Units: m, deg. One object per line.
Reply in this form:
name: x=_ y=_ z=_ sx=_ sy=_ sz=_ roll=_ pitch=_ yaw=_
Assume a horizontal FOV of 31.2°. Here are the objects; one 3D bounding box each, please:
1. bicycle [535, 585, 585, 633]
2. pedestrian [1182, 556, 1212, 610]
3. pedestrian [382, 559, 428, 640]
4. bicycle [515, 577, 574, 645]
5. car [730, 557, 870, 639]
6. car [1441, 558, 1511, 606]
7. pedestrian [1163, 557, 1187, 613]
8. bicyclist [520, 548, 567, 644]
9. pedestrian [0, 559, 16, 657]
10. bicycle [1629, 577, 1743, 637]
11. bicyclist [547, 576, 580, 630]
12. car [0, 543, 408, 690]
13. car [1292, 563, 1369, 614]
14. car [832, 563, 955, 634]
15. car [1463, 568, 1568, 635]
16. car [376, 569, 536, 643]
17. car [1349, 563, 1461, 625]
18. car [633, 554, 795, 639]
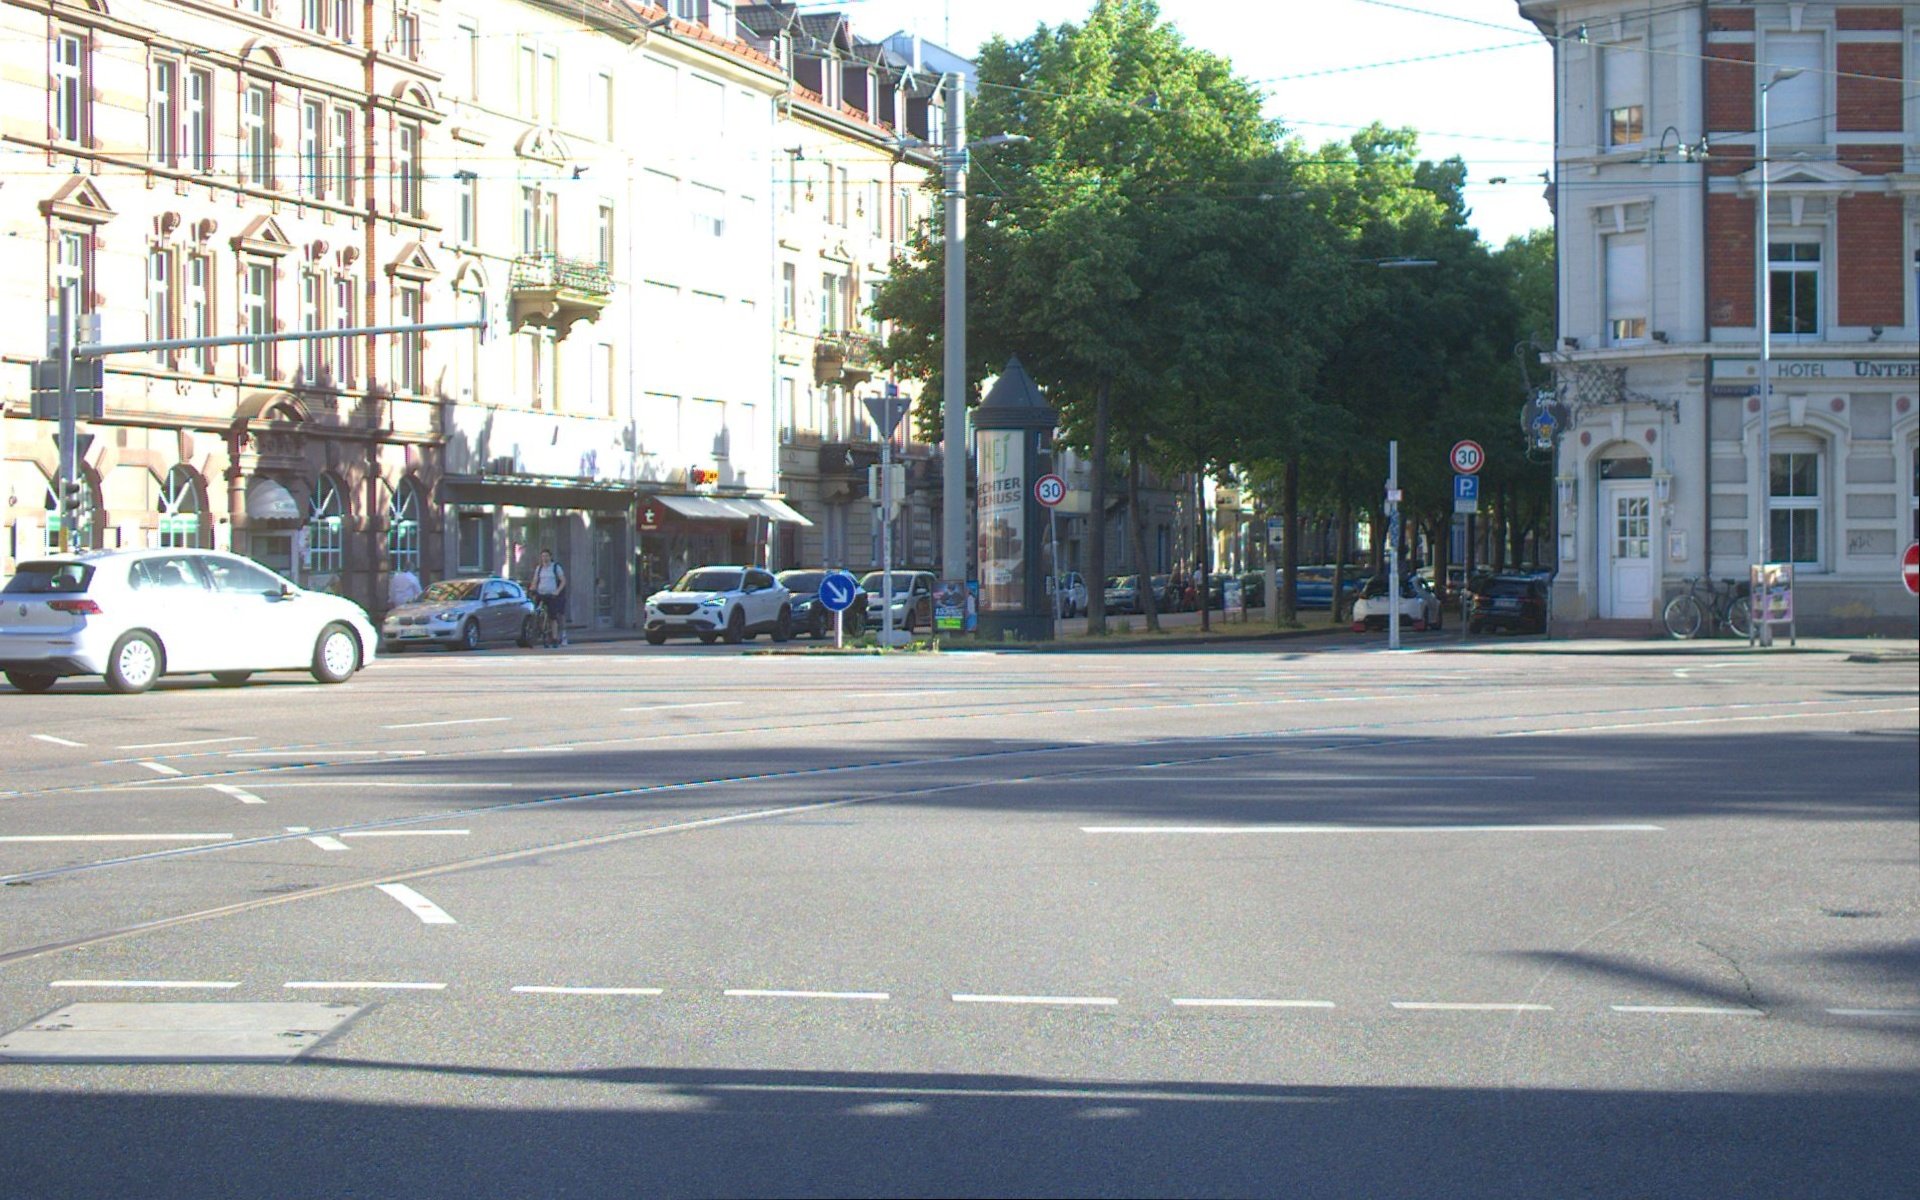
bicycle: x=-7.827 y=0.180 z=67.321 sx=0.473 sy=0.919 sz=1.451 roll=1 pitch=1 yaw=14
pedestrian: x=8.000 y=-0.578 z=116.097 sx=0.709 sy=1.784 sz=0.697 roll=1 pitch=0 yaw=-36
pedestrian: x=-11.326 y=-0.018 z=70.149 sx=0.568 sy=1.636 sz=0.792 roll=1 pitch=0 yaw=23
bicycle: x=-7.860 y=0.201 z=65.069 sx=0.565 sy=1.250 sz=1.556 roll=1 pitch=0 yaw=14
car: x=-3.387 y=-0.048 z=73.599 sx=1.826 sy=1.679 sz=3.872 roll=1 pitch=1 yaw=16
car: x=15.514 y=-0.555 z=103.331 sx=1.826 sy=1.398 sz=3.998 roll=0 pitch=1 yaw=12
pedestrian: x=7.733 y=-0.536 z=123.461 sx=0.752 sy=2.007 sz=0.999 roll=1 pitch=0 yaw=8
bicyclist: x=-7.872 y=-0.072 z=65.040 sx=0.565 sy=1.797 sz=0.913 roll=1 pitch=0 yaw=14
pedestrian: x=-15.900 y=0.120 z=56.272 sx=0.668 sy=1.589 sz=0.815 roll=1 pitch=0 yaw=-1
bicycle: x=12.063 y=0.115 z=57.124 sx=1.804 sy=0.959 sz=0.603 roll=1 pitch=0 yaw=14
bicyclist: x=-7.782 y=0.053 z=67.500 sx=0.473 sy=1.036 sz=0.537 roll=1 pitch=0 yaw=15
car: x=-7.808 y=0.124 z=34.987 sx=1.733 sy=1.385 sz=4.218 roll=1 pitch=1 yaw=40
car: x=12.583 y=-0.390 z=116.531 sx=1.995 sy=1.678 sz=3.997 roll=1 pitch=1 yaw=15
car: x=-1.519 y=-0.043 z=79.512 sx=1.804 sy=1.570 sz=3.888 roll=1 pitch=1 yaw=15
car: x=13.351 y=0.024 z=82.493 sx=1.758 sy=1.550 sz=3.996 roll=1 pitch=1 yaw=20
car: x=-9.792 y=0.104 z=67.053 sx=1.661 sy=1.369 sz=3.889 roll=1 pitch=1 yaw=15
car: x=11.301 y=-0.164 z=87.148 sx=1.894 sy=1.449 sz=4.004 roll=0 pitch=2 yaw=22
car: x=-4.775 y=-0.079 z=67.259 sx=1.804 sy=1.579 sz=4.156 roll=1 pitch=1 yaw=17
